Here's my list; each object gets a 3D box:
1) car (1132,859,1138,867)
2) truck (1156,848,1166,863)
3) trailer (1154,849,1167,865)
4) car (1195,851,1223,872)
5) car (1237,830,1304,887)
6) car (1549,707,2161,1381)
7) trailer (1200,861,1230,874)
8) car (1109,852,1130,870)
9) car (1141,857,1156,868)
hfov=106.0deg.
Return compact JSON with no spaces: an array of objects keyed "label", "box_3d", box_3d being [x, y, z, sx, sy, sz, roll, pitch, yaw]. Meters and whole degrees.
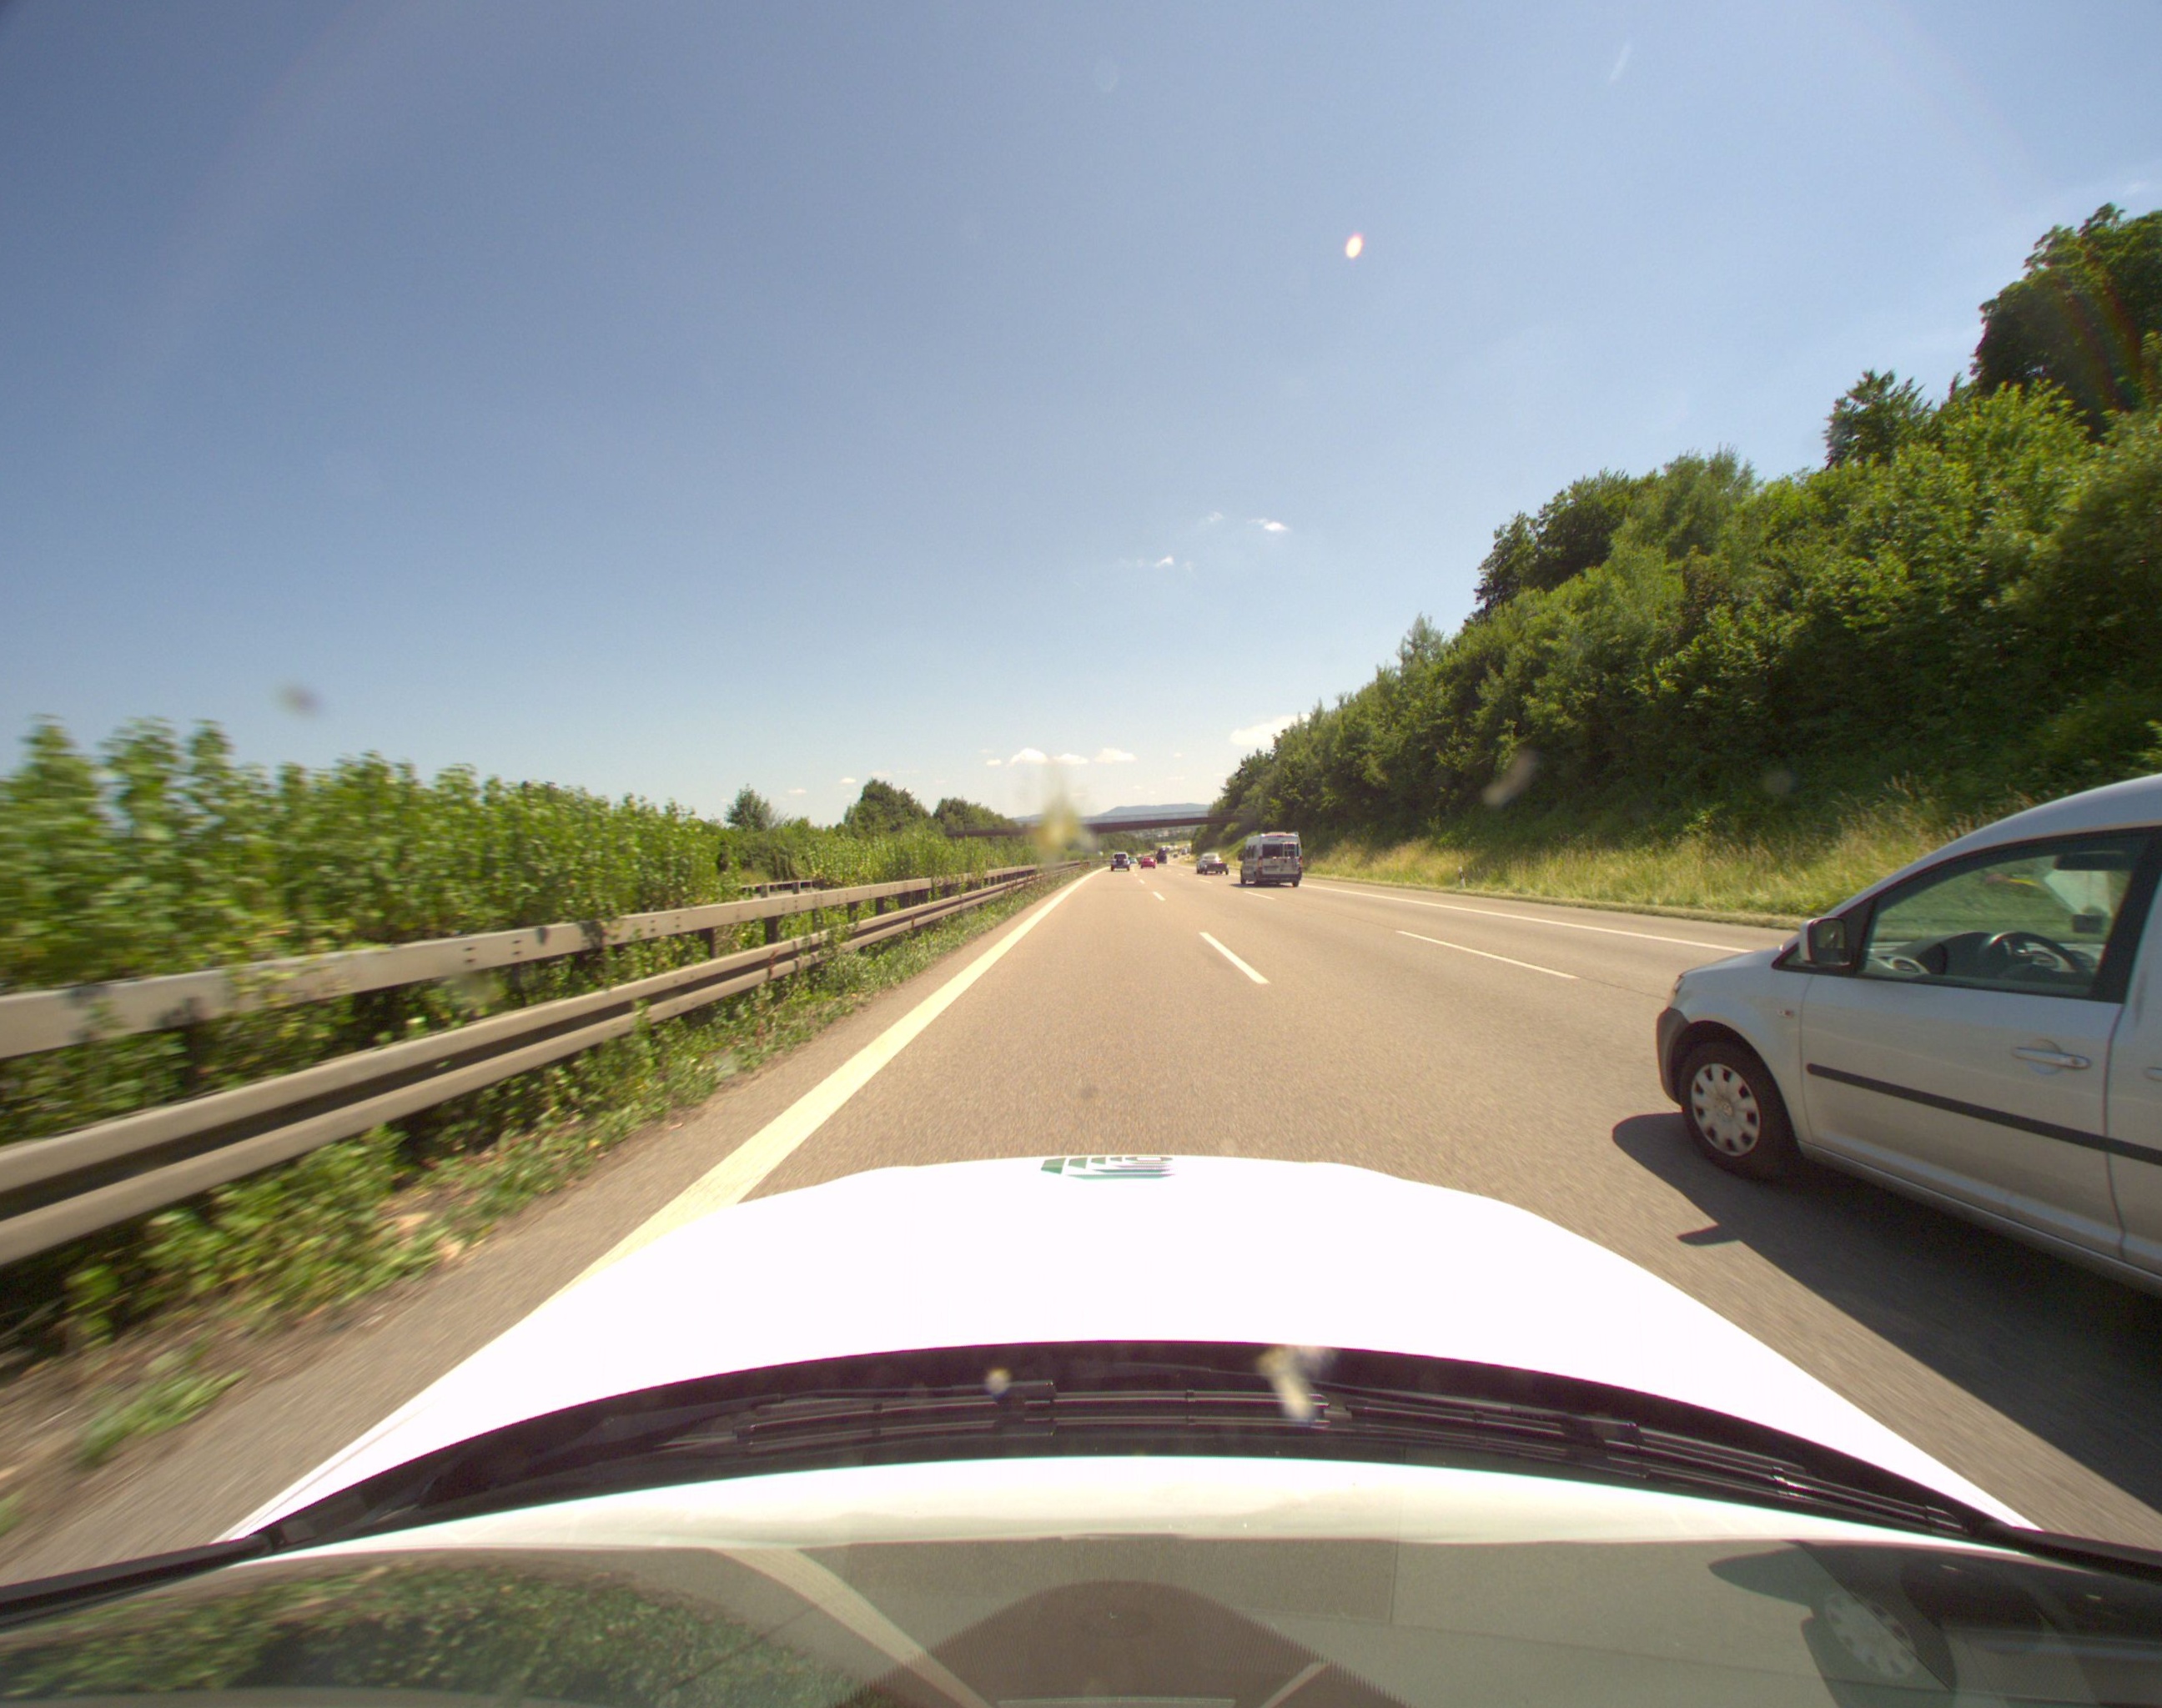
[{"label":"car","box_3d":[14.320,2.285,216.442,1.691,2.013,3.825,-1,1,2]},{"label":"truck","box_3d":[21.771,0.463,221.455,2.740,3.852,6.656,-1,1,6]},{"label":"trailer","box_3d":[20.925,0.630,213.851,2.840,3.993,15.427,-1,1,7]},{"label":"car","box_3d":[10.669,0.608,68.264,1.774,1.650,4.406,-1,1,2]},{"label":"car","box_3d":[9.248,0.144,40.387,2.081,2.576,6.627,-1,1,3]},{"label":"car","box_3d":[3.820,0.511,2.822,1.739,1.829,4.802,-1,0,2]},{"label":"trailer","box_3d":[10.468,1.023,63.896,1.747,0.908,4.322,-1,1,2]},{"label":"car","box_3d":[4.013,0.689,84.668,2.074,1.829,4.758,-1,1,3]},{"label":"car","box_3d":[8.468,1.044,102.739,1.679,1.379,3.951,-1,1,2]}]
